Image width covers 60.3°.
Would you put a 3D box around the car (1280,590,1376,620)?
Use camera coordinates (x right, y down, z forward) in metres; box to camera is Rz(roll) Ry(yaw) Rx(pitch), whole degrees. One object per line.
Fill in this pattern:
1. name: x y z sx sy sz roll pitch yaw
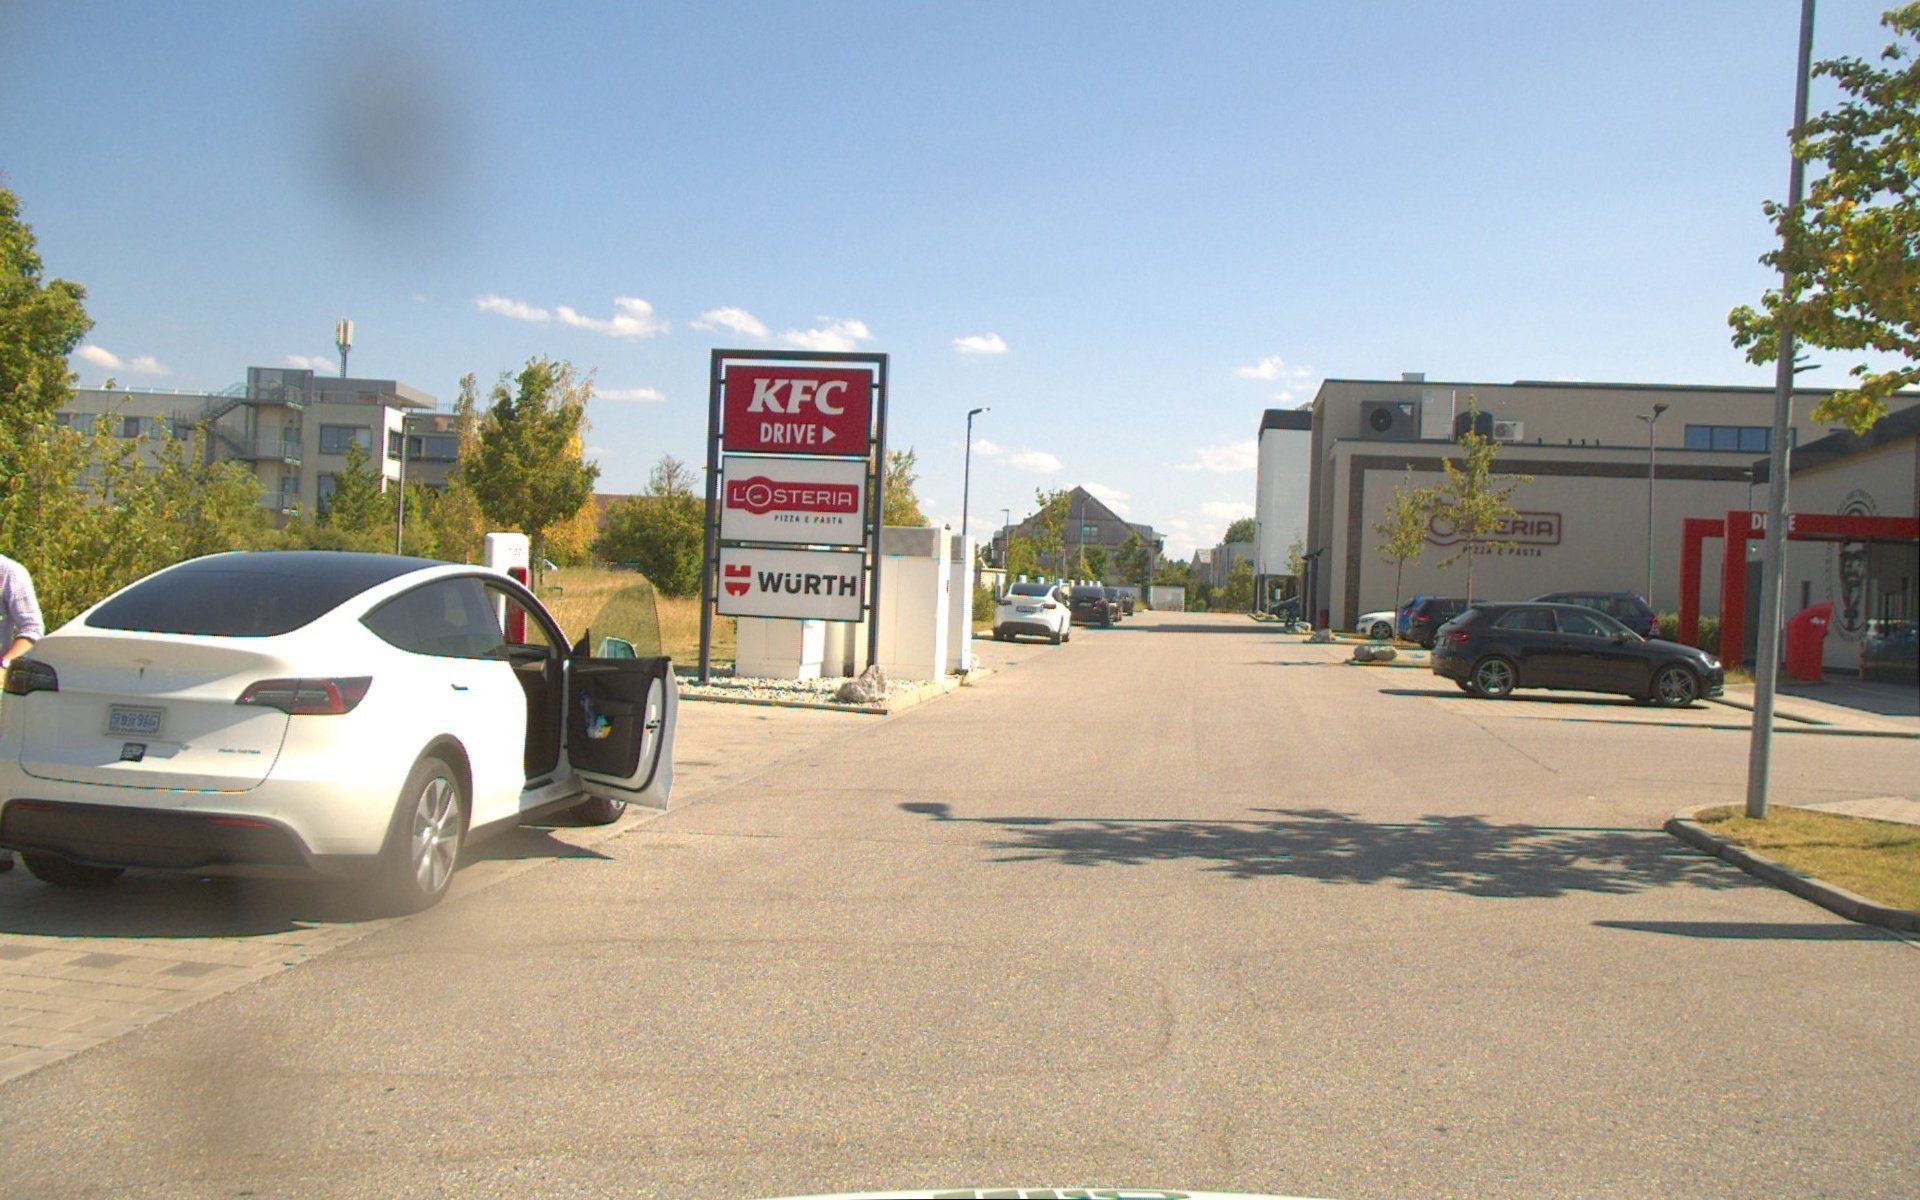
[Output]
1. car: 16.133 0.202 72.736 3.902 1.176 2.002 2 1 7

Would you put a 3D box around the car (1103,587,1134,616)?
1. car: 9.297 0.044 96.936 1.706 1.595 4.003 2 1 6

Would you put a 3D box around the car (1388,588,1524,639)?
1. car: 15.969 0.409 53.342 3.903 1.445 1.652 2 1 5

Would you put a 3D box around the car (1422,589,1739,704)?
1. car: 9.178 0.663 24.742 4.111 1.466 1.700 3 1 7

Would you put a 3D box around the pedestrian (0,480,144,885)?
1. pedestrian: -4.601 0.358 7.912 0.719 1.831 1.036 2 0 10

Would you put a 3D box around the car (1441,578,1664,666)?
1. car: 12.959 0.454 36.379 4.279 1.714 1.642 2 1 3

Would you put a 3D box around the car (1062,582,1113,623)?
1. car: 5.306 0.085 68.296 1.903 1.595 4.003 2 1 6

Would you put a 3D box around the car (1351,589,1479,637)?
1. car: 15.378 0.437 56.083 3.903 1.445 1.652 2 1 5

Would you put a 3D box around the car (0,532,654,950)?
1. car: -3.189 0.541 8.993 1.825 1.628 4.492 2 1 5

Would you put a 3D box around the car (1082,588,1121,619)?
1. car: 6.889 0.144 80.162 1.706 1.411 4.003 2 1 6

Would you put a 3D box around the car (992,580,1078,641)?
1. car: 2.190 0.266 47.119 1.903 1.595 4.004 2 1 10

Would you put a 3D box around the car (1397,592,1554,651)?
1. car: 14.433 0.593 46.459 3.903 1.445 1.652 2 1 5
